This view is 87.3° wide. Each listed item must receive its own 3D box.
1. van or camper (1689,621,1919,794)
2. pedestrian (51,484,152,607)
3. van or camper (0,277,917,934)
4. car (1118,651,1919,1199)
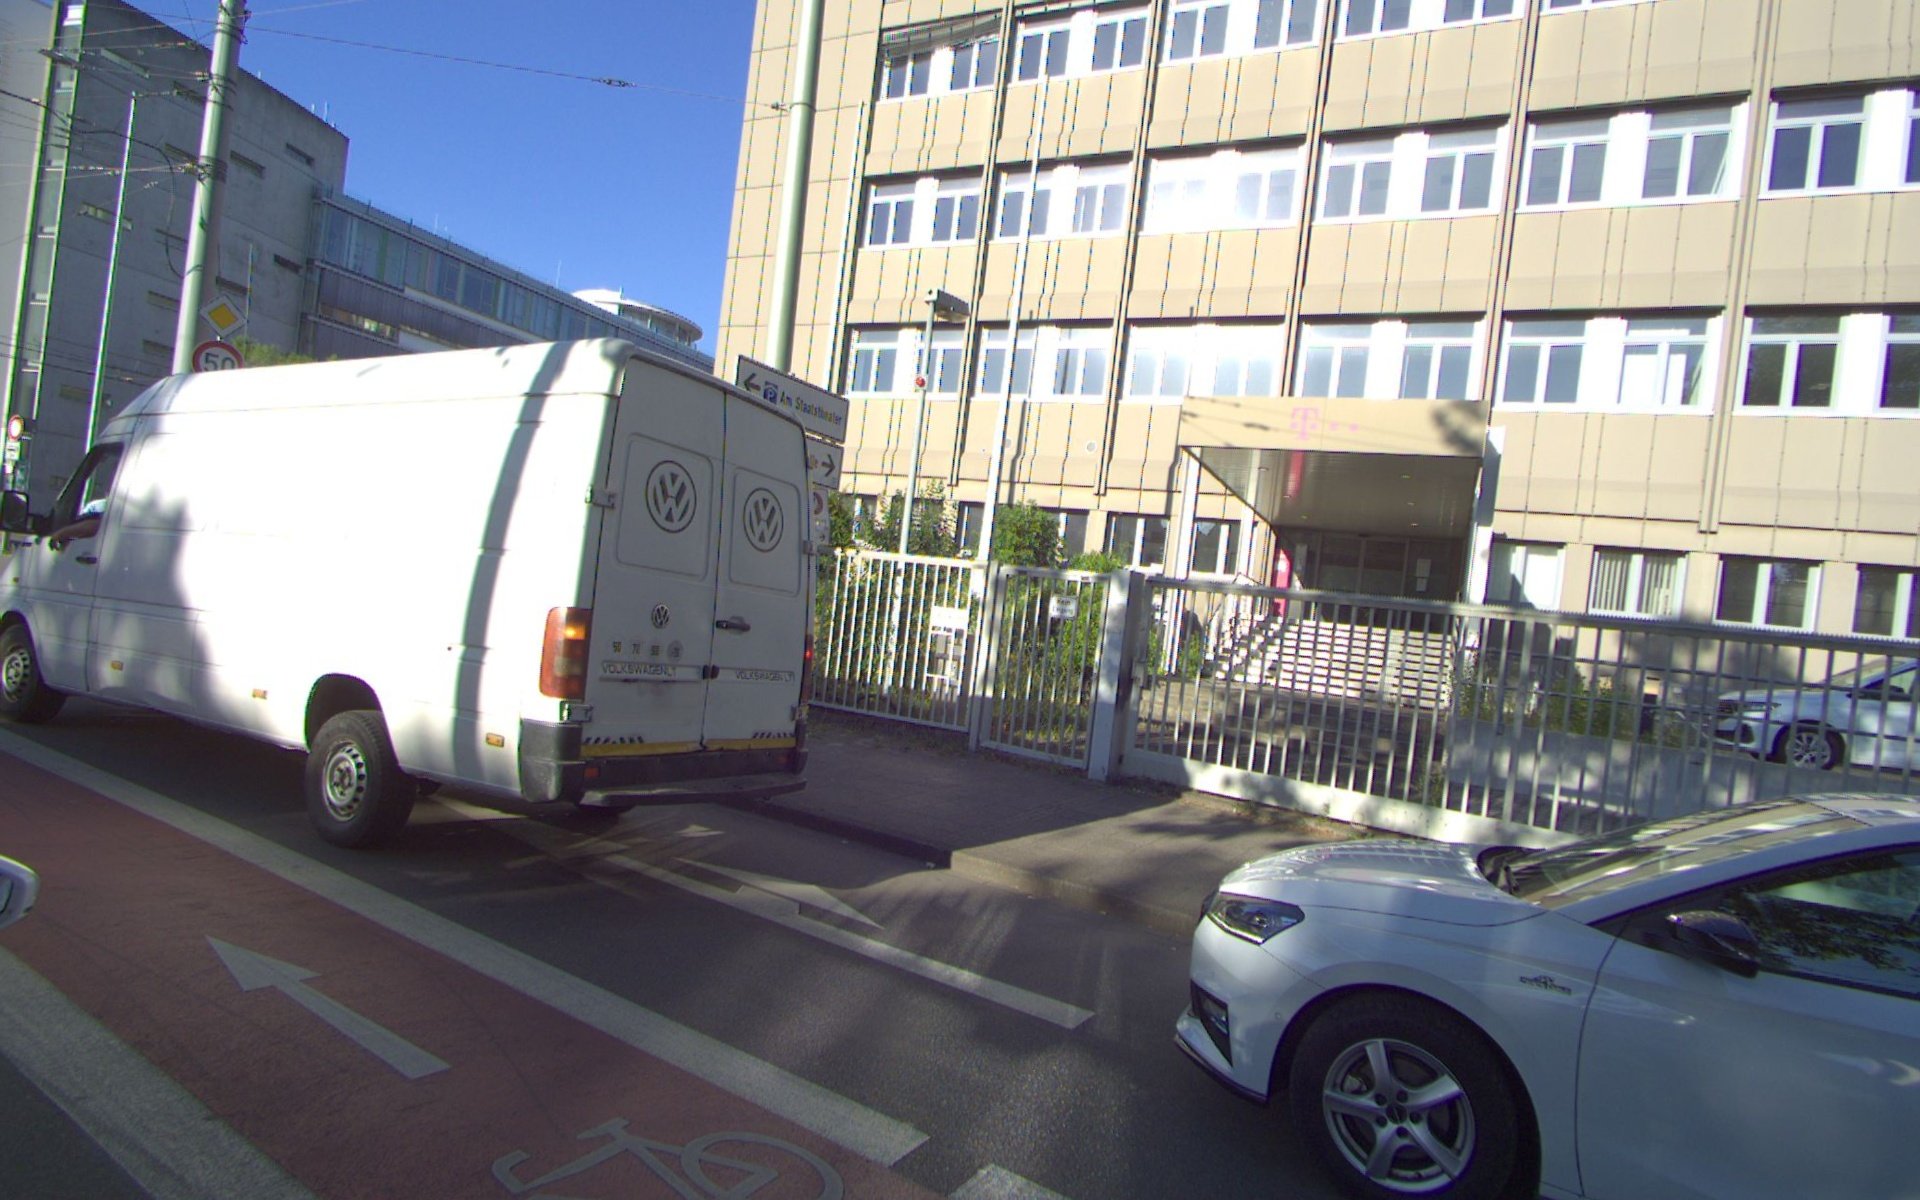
[{"bbox_3d":[12.871,1.560,13.170,4.911,1.932,1.985,7,0,26],"label":"van or camper"},{"bbox_3d":[-13.353,-0.831,15.662,0.757,1.770,0.788,7,1,18],"label":"pedestrian"},{"bbox_3d":[-3.701,-0.188,6.661,6.236,2.764,2.276,7,-2,28],"label":"van or camper"},{"bbox_3d":[2.721,1.199,3.044,3.914,1.518,1.806,7,-1,30],"label":"car"}]
